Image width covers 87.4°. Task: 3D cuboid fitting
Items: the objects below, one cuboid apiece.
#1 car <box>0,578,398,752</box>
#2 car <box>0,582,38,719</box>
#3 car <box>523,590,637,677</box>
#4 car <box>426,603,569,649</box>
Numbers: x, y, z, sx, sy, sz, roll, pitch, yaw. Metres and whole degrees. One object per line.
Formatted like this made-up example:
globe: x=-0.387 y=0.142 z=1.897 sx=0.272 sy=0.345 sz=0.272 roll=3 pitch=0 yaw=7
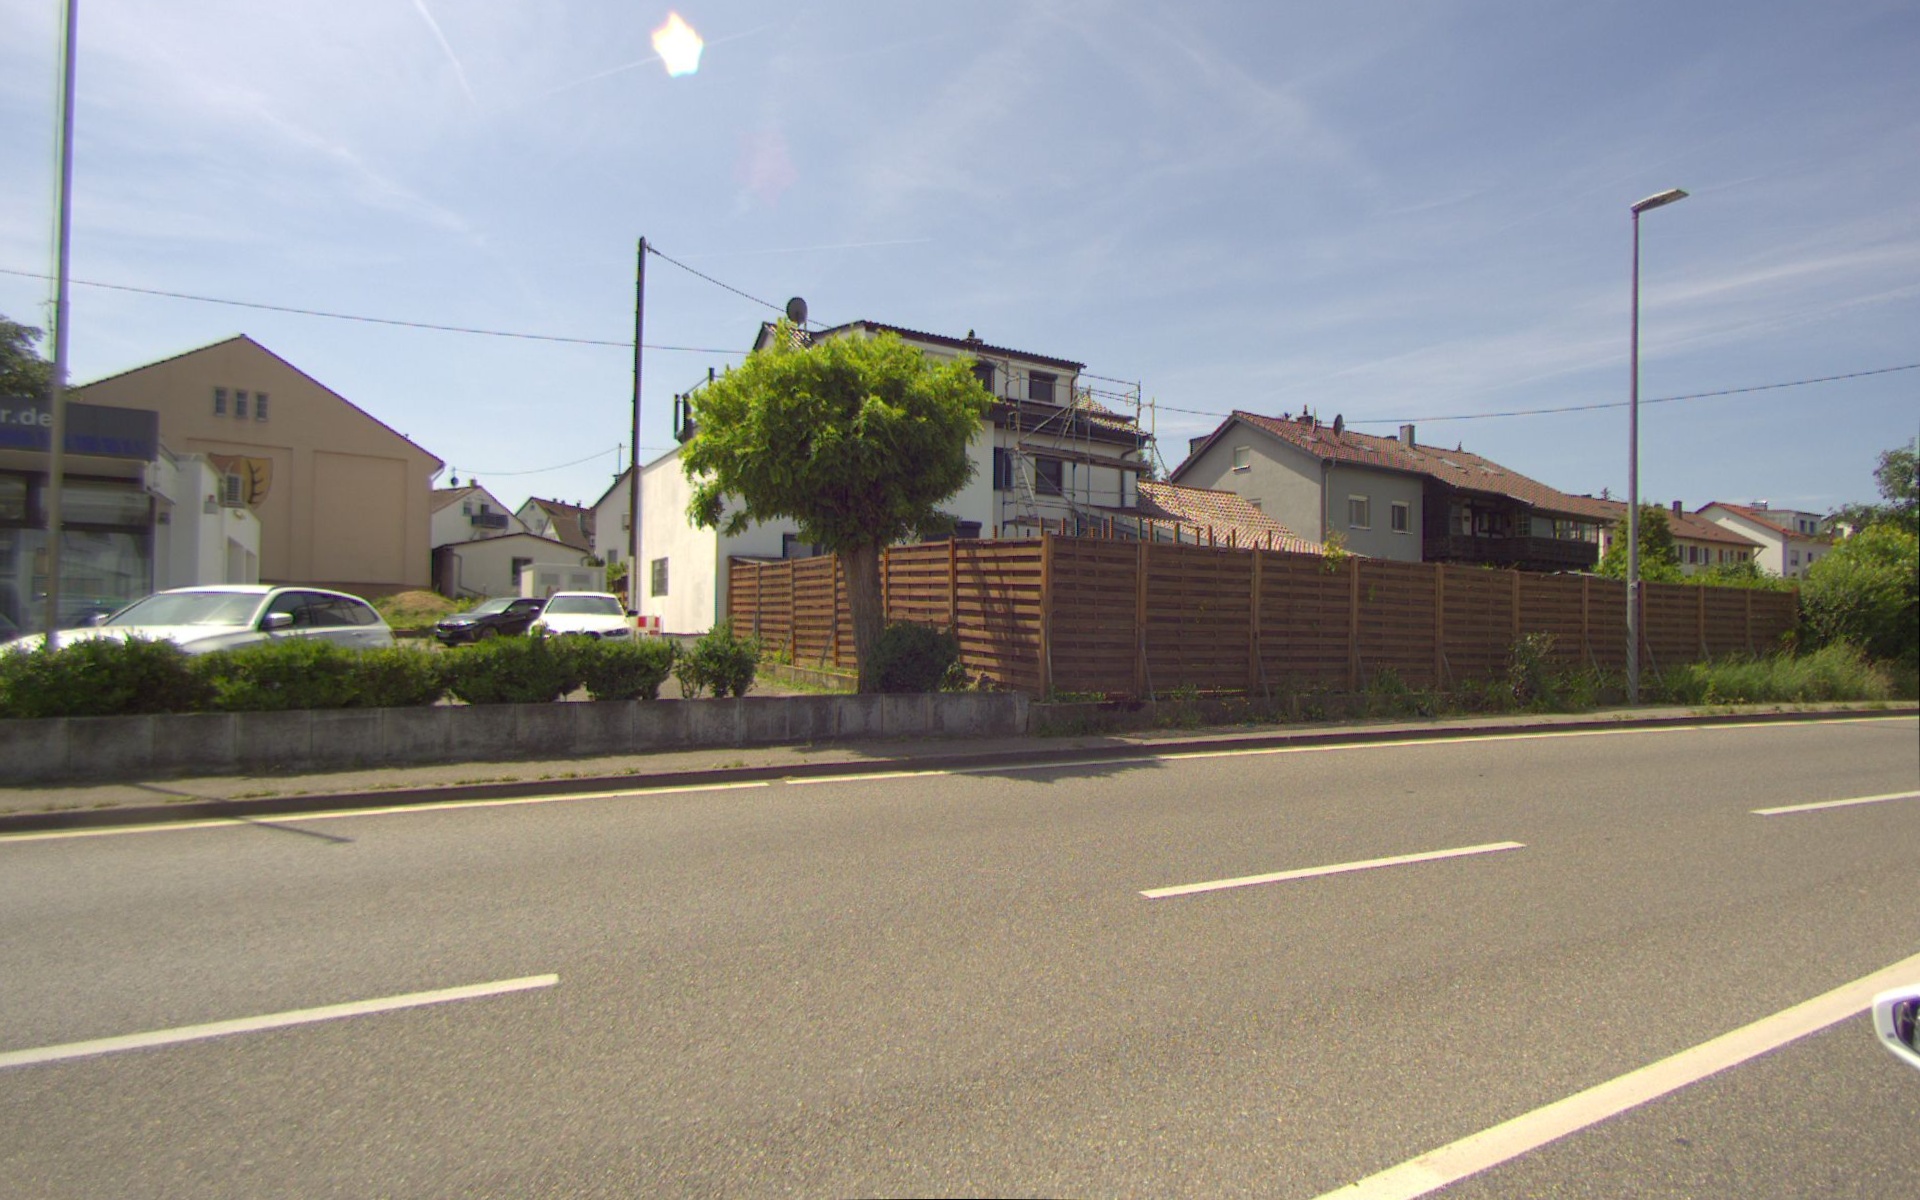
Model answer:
car: x=-8.082 y=0.569 z=10.873 sx=1.822 sy=1.467 sz=4.339 roll=2 pitch=0 yaw=-5
car: x=-11.095 y=0.509 z=8.998 sx=1.863 sy=1.467 sz=4.339 roll=2 pitch=0 yaw=-5
car: x=-7.381 y=0.587 z=19.839 sx=1.805 sy=1.530 sz=3.985 roll=1 pitch=0 yaw=-17
car: x=-14.348 y=0.771 z=31.406 sx=1.756 sy=1.238 sz=3.999 roll=2 pitch=1 yaw=21
